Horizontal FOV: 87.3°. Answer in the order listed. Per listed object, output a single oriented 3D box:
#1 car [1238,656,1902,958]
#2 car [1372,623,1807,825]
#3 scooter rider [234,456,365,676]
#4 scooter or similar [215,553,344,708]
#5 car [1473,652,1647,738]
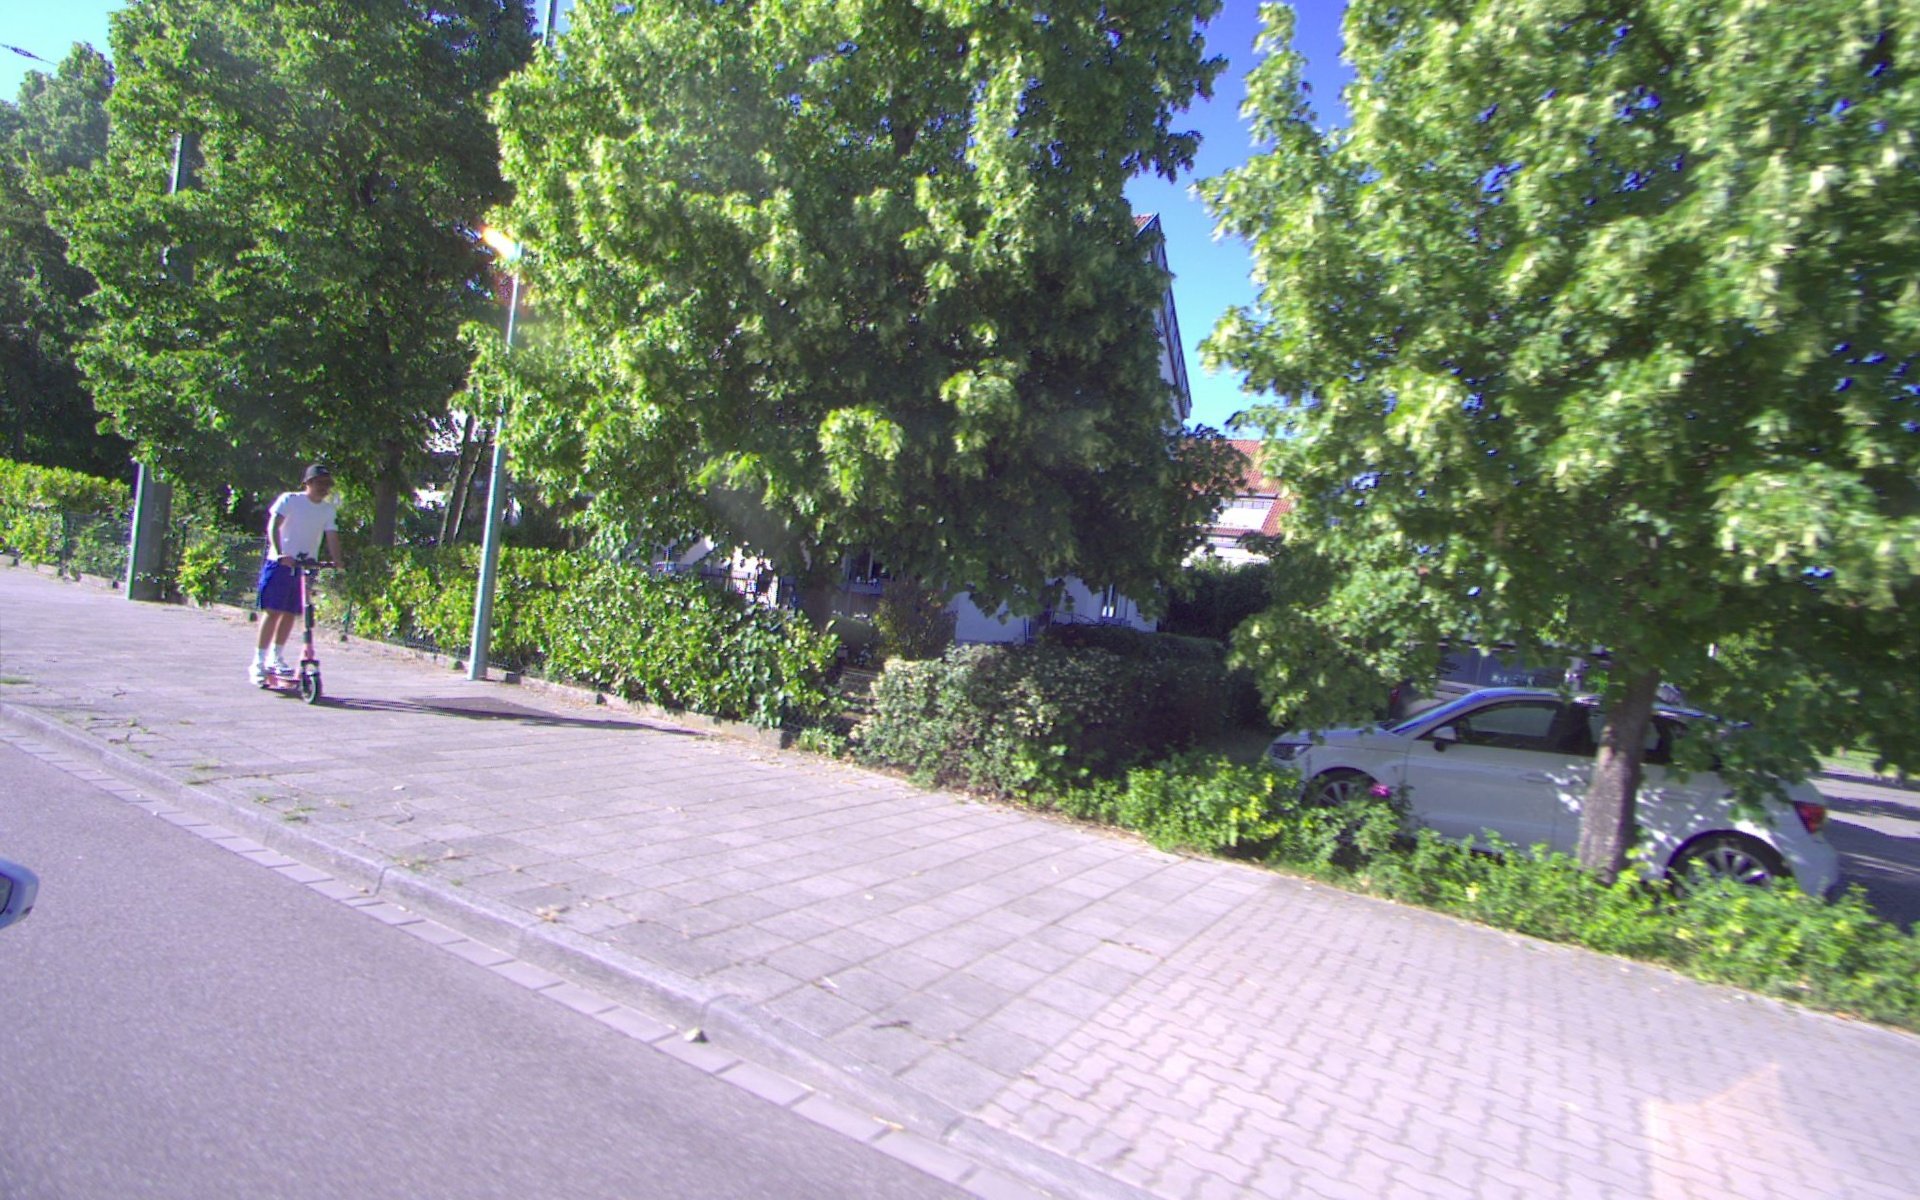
[{"bbox_3d":[4.440,1.402,7.926,3.984,1.378,1.464,7,0,30],"label":"car"},{"bbox_3d":[8.836,1.635,14.576,4.879,1.962,1.874,7,1,34],"label":"car"},{"bbox_3d":[-5.661,-0.280,8.632,0.589,1.788,0.551,7,0,31],"label":"scooter rider"},{"bbox_3d":[-5.753,0.244,8.490,1.188,1.151,0.349,7,1,31],"label":"scooter or similar"},{"bbox_3d":[23.682,3.719,39.939,5.588,2.562,2.196,6,-2,31],"label":"car"}]
